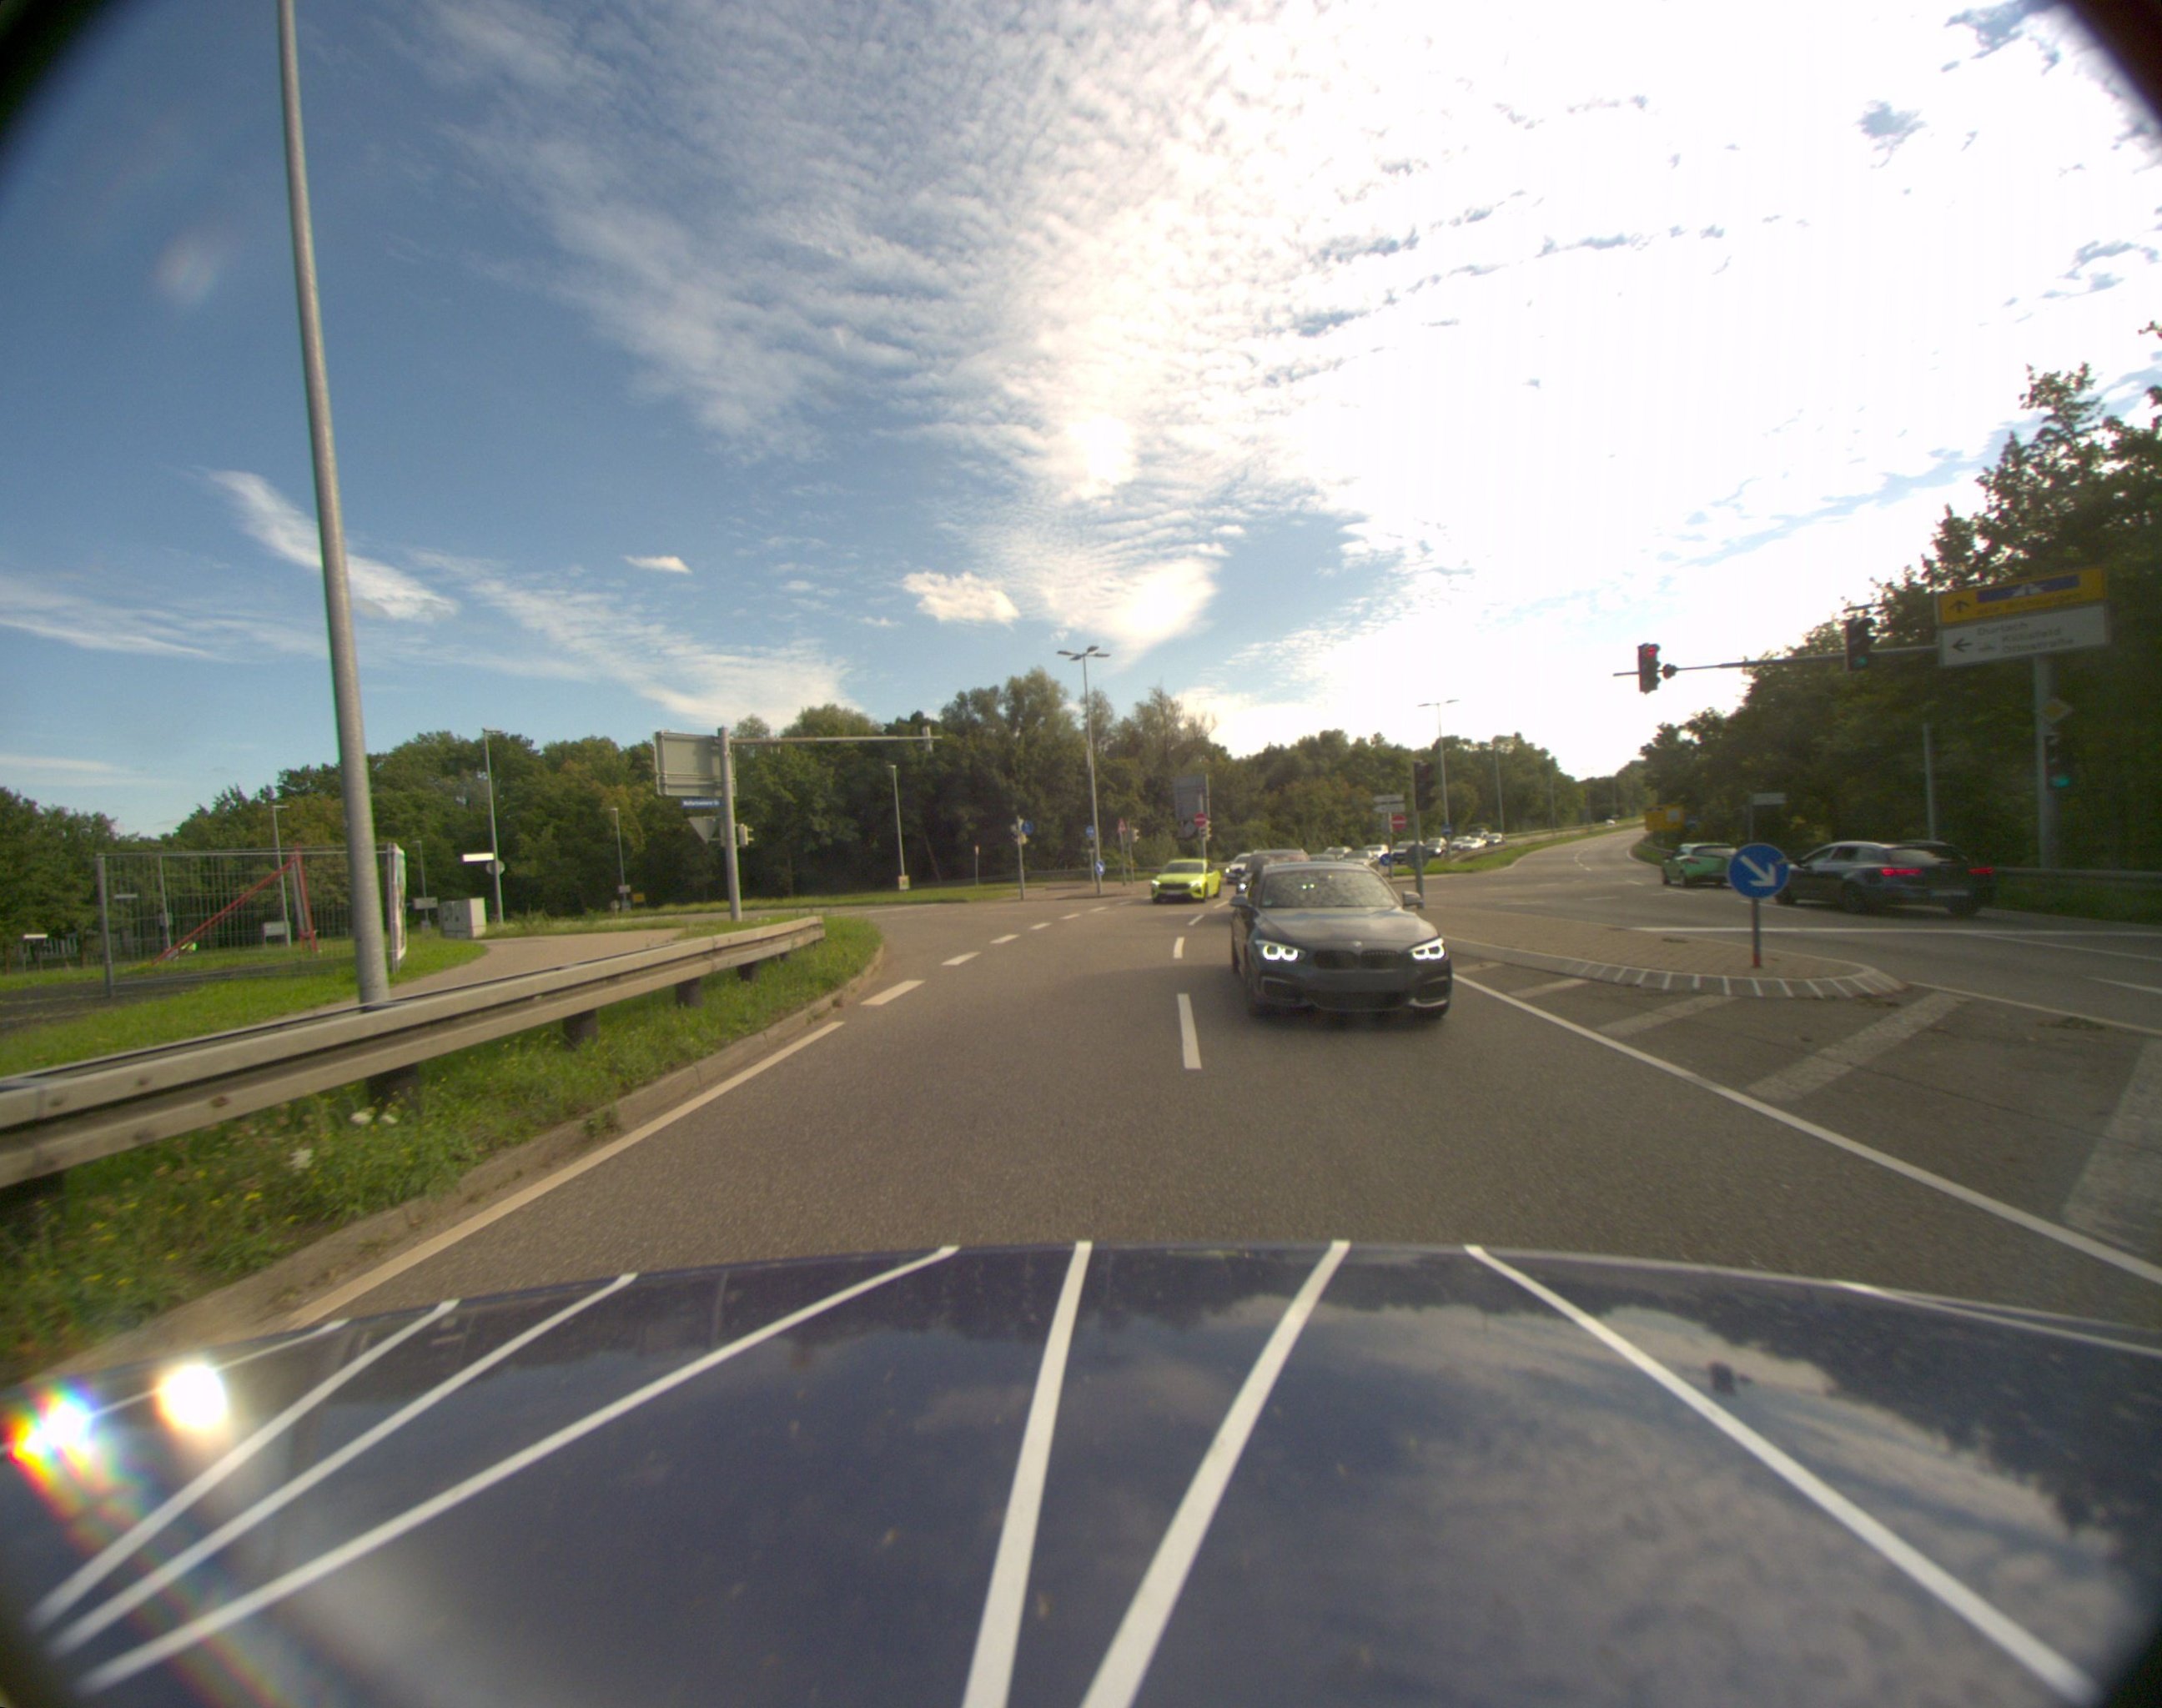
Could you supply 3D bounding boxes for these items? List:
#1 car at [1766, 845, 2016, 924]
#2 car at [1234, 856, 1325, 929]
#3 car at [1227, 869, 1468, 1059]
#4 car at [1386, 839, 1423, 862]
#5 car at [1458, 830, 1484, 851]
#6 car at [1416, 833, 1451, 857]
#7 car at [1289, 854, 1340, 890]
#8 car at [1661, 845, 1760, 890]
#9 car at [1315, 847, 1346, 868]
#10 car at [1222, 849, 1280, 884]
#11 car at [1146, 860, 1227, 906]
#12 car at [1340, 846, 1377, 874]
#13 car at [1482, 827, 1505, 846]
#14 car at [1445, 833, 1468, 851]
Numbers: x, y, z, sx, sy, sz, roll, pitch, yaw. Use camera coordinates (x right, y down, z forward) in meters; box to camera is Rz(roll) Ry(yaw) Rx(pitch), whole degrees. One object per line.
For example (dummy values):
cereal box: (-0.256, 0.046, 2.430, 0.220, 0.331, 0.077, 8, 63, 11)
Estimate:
car: (16.414, 0.542, 15.757, 1.816, 1.396, 4.397, -1, 0, 21)
car: (4.711, 0.845, 18.584, 1.817, 1.498, 4.394, -1, 0, 11)
car: (2.503, 0.926, 8.092, 1.785, 1.396, 3.974, -1, 0, 10)
car: (24.490, -0.294, 57.415, 1.995, 1.591, 4.289, -1, 1, 30)
car: (39.326, -1.405, 76.637, 1.995, 2.002, 4.007, -1, 1, 31)
car: (30.929, -0.800, 66.590, 1.994, 2.002, 4.281, -1, 1, 35)
car: (9.738, 0.716, 31.879, 1.689, 1.315, 3.787, -1, 1, 12)
car: (20.927, 0.410, 25.415, 1.637, 1.396, 3.747, -1, 0, 25)
car: (17.815, 0.263, 54.194, 1.637, 1.396, 3.747, -1, 0, 25)
car: (8.480, 0.585, 37.658, 1.995, 1.543, 4.006, -1, 1, 24)
car: (3.765, 0.955, 26.538, 1.816, 1.396, 4.397, -1, 0, 21)
car: (16.110, 0.335, 44.045, 1.637, 1.543, 3.747, -1, 0, 25)
car: (46.049, -1.916, 84.745, 1.994, 2.002, 4.007, -1, 1, 32)
car: (42.971, -1.393, 86.968, 1.995, 2.002, 4.007, -1, 1, 31)
